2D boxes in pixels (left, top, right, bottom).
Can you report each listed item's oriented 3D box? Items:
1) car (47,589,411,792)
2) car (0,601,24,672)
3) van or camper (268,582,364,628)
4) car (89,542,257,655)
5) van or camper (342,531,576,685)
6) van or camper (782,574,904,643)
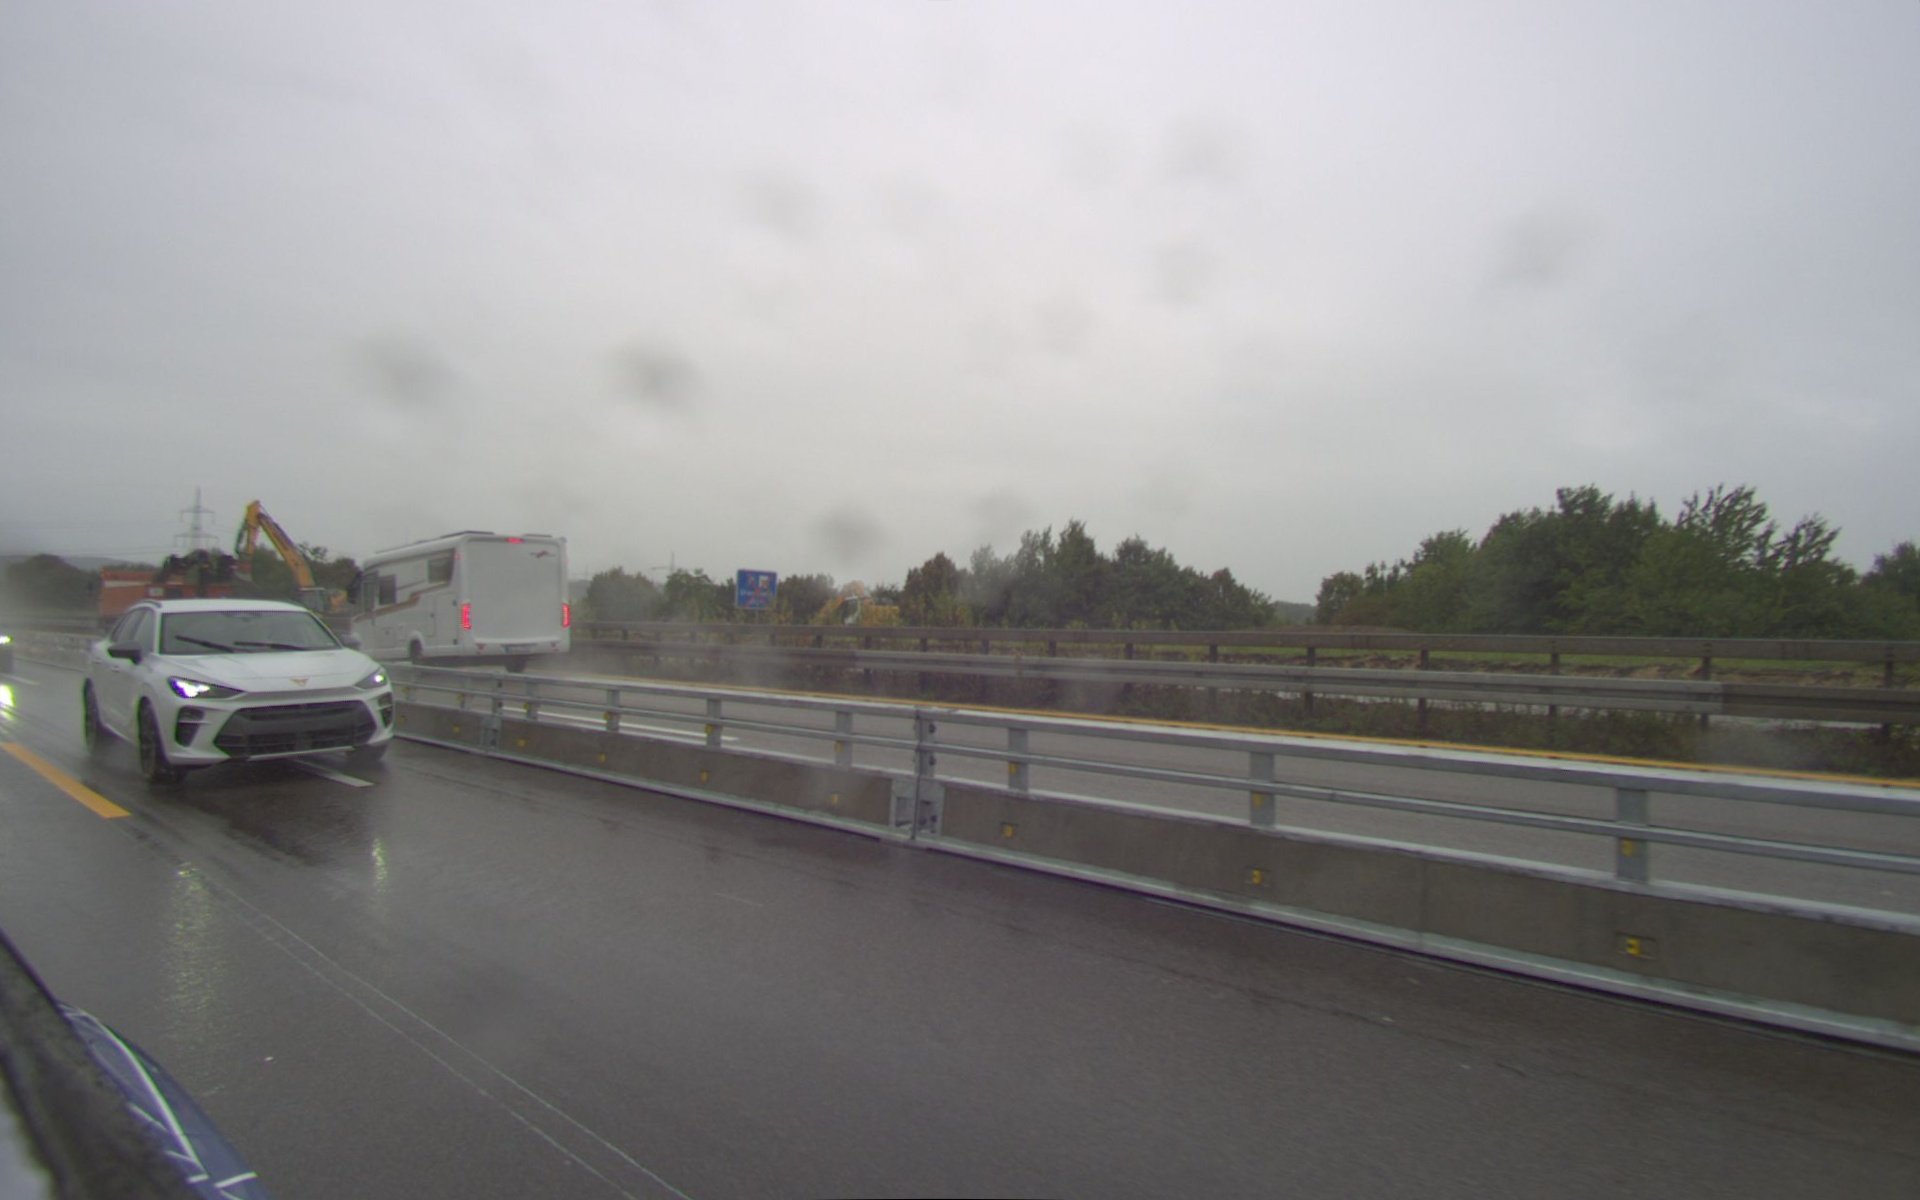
[{"bbox_3d":[-7.518,0.739,10.180,5.005,1.562,1.907,-1,-2,42],"label":"car"},{"bbox_3d":[-24.571,0.880,24.806,5.196,1.640,2.041,-1,-1,43],"label":"car"},{"bbox_3d":[-48.877,0.336,76.916,3.374,3.370,5.353,-1,0,39],"label":"van or camper"},{"bbox_3d":[-29.700,-0.014,37.999,9.396,3.768,3.263,-1,0,41],"label":"car"},{"bbox_3d":[-11.198,0.170,22.357,6.220,2.940,2.459,-1,0,41],"label":"van or camper"},{"bbox_3d":[-7.987,0.554,68.253,8.502,4.356,3.332,-1,0,41],"label":"van or camper"}]
